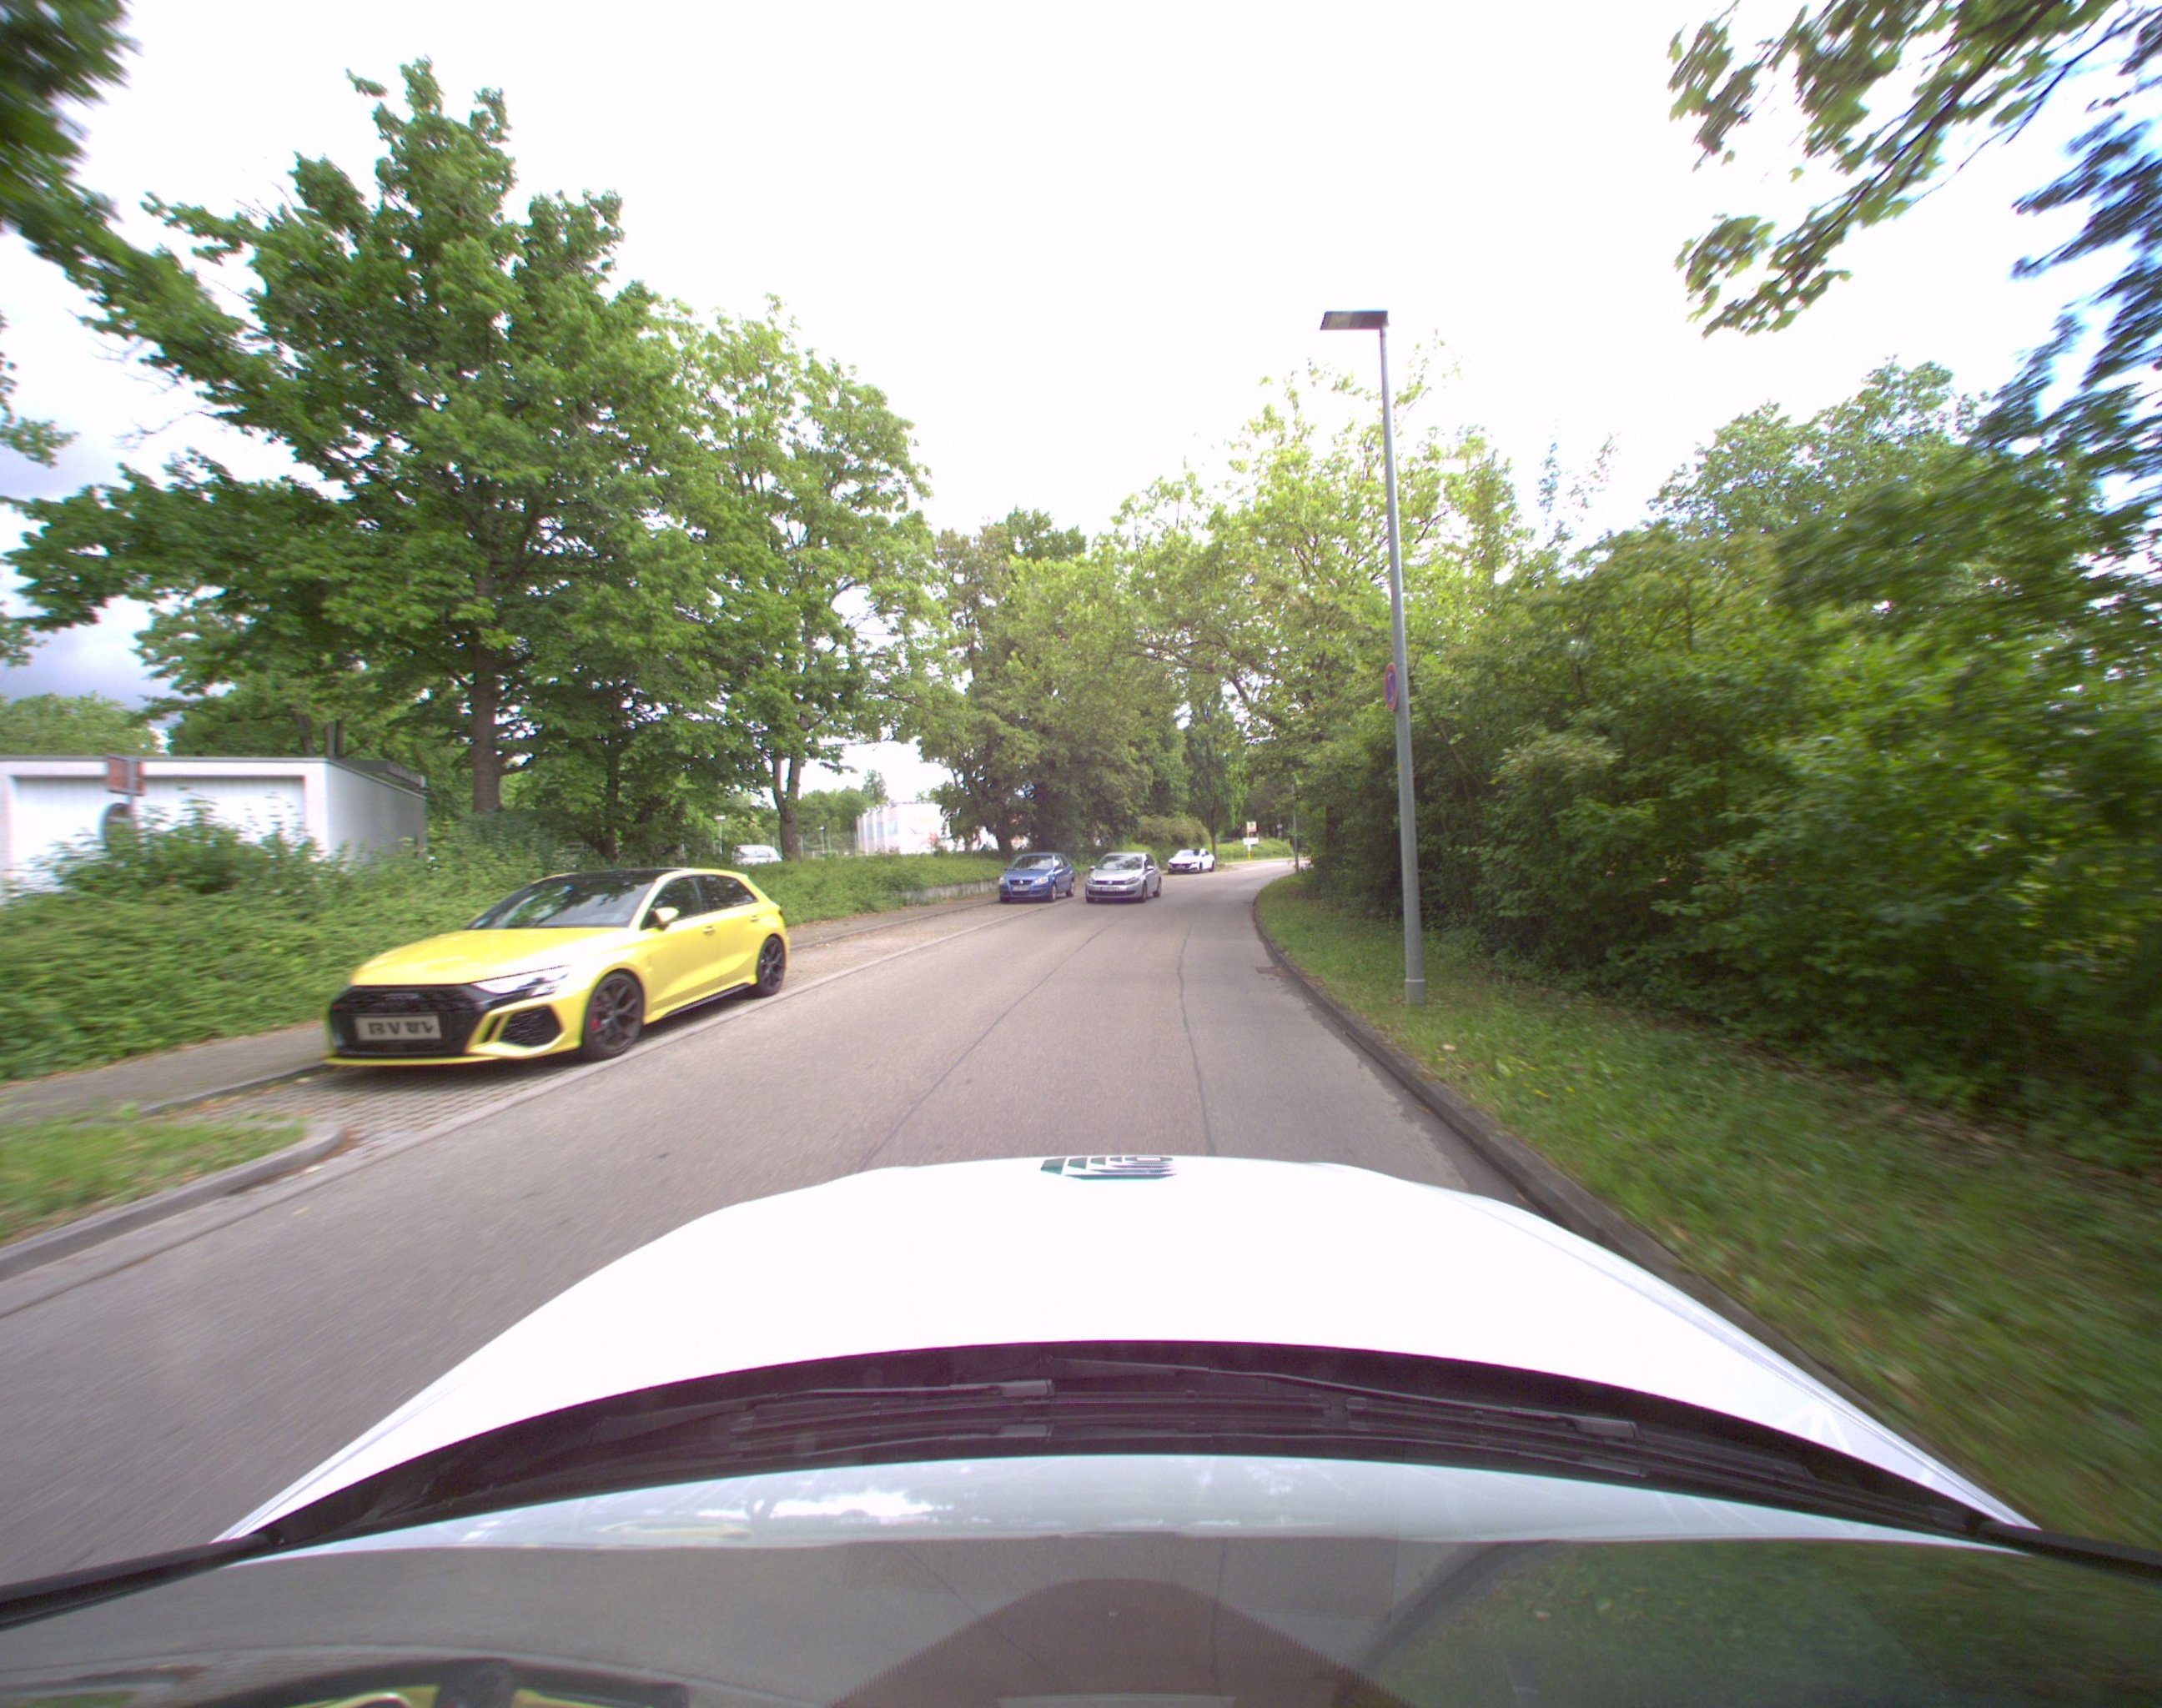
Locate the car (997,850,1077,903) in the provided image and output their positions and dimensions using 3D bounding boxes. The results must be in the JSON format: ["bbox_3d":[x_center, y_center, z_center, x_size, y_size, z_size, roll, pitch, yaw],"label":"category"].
[{"bbox_3d":[-1.278,0.639,25.164,1.523,1.459,3.732,-2,0,12],"label":"car"}]

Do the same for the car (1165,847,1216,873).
[{"bbox_3d":[6.352,0.330,46.900,1.798,1.424,4.385,-1,0,23],"label":"car"}]

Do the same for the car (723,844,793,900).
[{"bbox_3d":[-10.743,0.522,26.937,1.750,1.622,3.839,-3,2,-27],"label":"car"}]

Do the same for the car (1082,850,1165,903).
[{"bbox_3d":[1.398,0.615,25.087,1.664,1.462,4.079,0,1,16],"label":"car"}]

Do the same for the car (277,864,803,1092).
[{"bbox_3d":[-4.246,0.832,7.406,1.692,1.403,4.278,-2,0,4],"label":"car"}]
